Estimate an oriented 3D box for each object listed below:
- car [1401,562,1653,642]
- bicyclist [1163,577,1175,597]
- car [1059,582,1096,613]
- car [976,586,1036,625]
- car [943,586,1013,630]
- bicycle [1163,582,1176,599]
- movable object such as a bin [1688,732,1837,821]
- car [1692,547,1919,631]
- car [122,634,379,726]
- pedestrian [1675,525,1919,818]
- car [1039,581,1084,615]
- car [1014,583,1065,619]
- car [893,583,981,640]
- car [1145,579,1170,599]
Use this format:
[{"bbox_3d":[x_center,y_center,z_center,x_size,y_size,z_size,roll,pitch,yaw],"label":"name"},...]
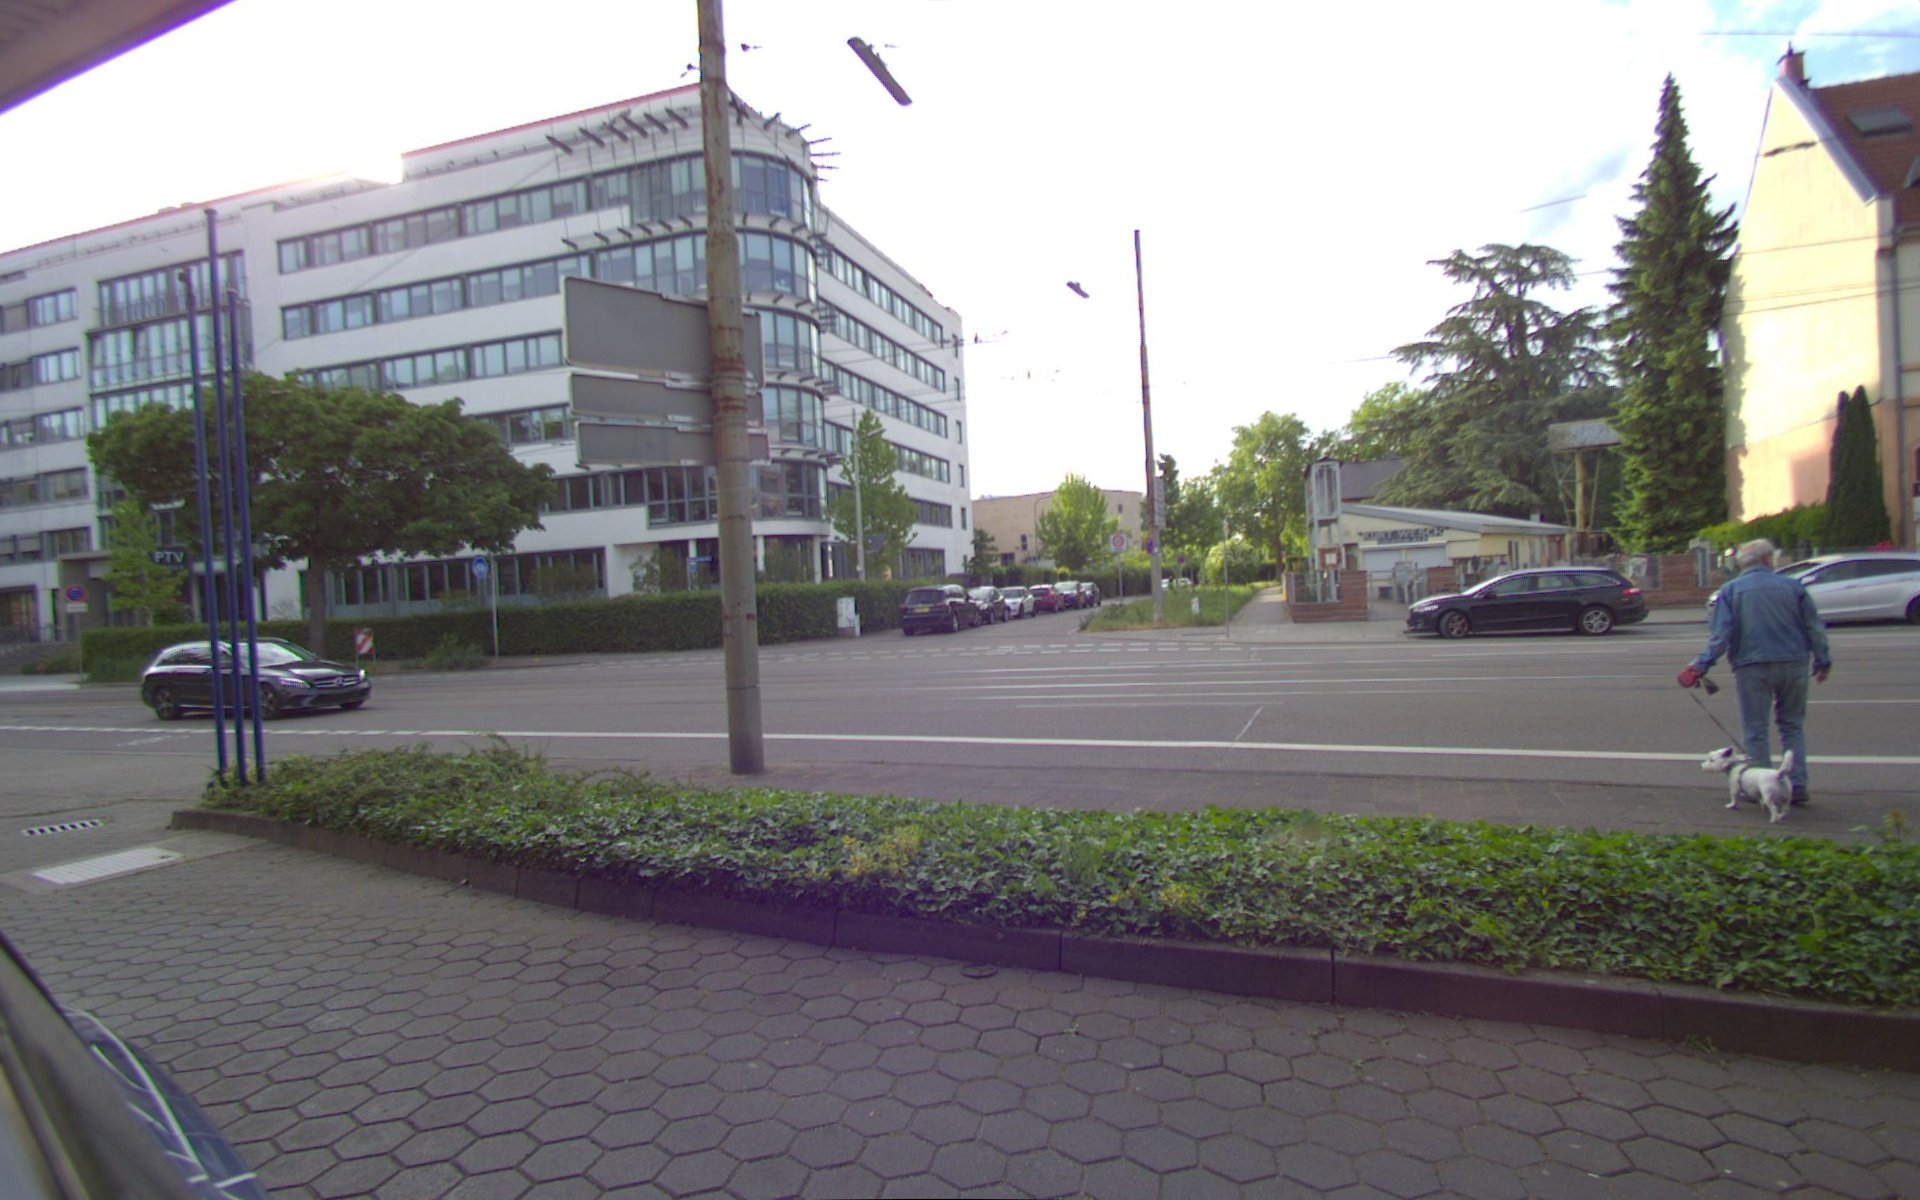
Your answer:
[{"bbox_3d":[12.910,0.050,23.442,4.742,1.511,2.001,-3,1,21],"label":"car"},{"bbox_3d":[18.600,-1.167,89.947,0.859,1.617,1.023,-2,3,18],"label":"bicyclist"},{"bbox_3d":[7.286,-0.165,62.493,1.731,1.748,4.030,-3,0,13],"label":"car"},{"bbox_3d":[2.140,0.210,45.784,1.929,1.530,4.274,-3,0,13],"label":"car"},{"bbox_3d":[0.792,0.287,40.973,1.929,1.551,4.274,-3,0,13],"label":"car"},{"bbox_3d":[18.643,-0.867,90.043,0.859,1.320,1.909,-2,3,17],"label":"bicycle"},{"bbox_3d":[4.975,1.085,6.311,0.476,0.424,0.677,-3,0,15],"label":"movable object such as a bin"},{"bbox_3d":[18.421,-0.250,21.380,4.424,1.494,1.713,-3,1,21],"label":"car"},{"bbox_3d":[-13.479,1.528,19.227,4.537,1.479,1.742,-3,1,21],"label":"car"},{"bbox_3d":[5.276,0.413,6.470,1.000,1.680,0.961,-3,0,30],"label":"pedestrian"},{"bbox_3d":[5.832,-0.154,57.719,1.929,1.748,4.512,-3,0,13],"label":"car"},{"bbox_3d":[4.173,0.019,52.490,1.929,1.650,4.274,-3,0,13],"label":"car"},{"bbox_3d":[-0.727,0.357,35.414,1.994,1.704,4.274,-3,1,13],"label":"car"},{"bbox_3d":[19.694,-1.091,100.791,1.849,1.748,4.247,-3,1,19],"label":"car"}]
